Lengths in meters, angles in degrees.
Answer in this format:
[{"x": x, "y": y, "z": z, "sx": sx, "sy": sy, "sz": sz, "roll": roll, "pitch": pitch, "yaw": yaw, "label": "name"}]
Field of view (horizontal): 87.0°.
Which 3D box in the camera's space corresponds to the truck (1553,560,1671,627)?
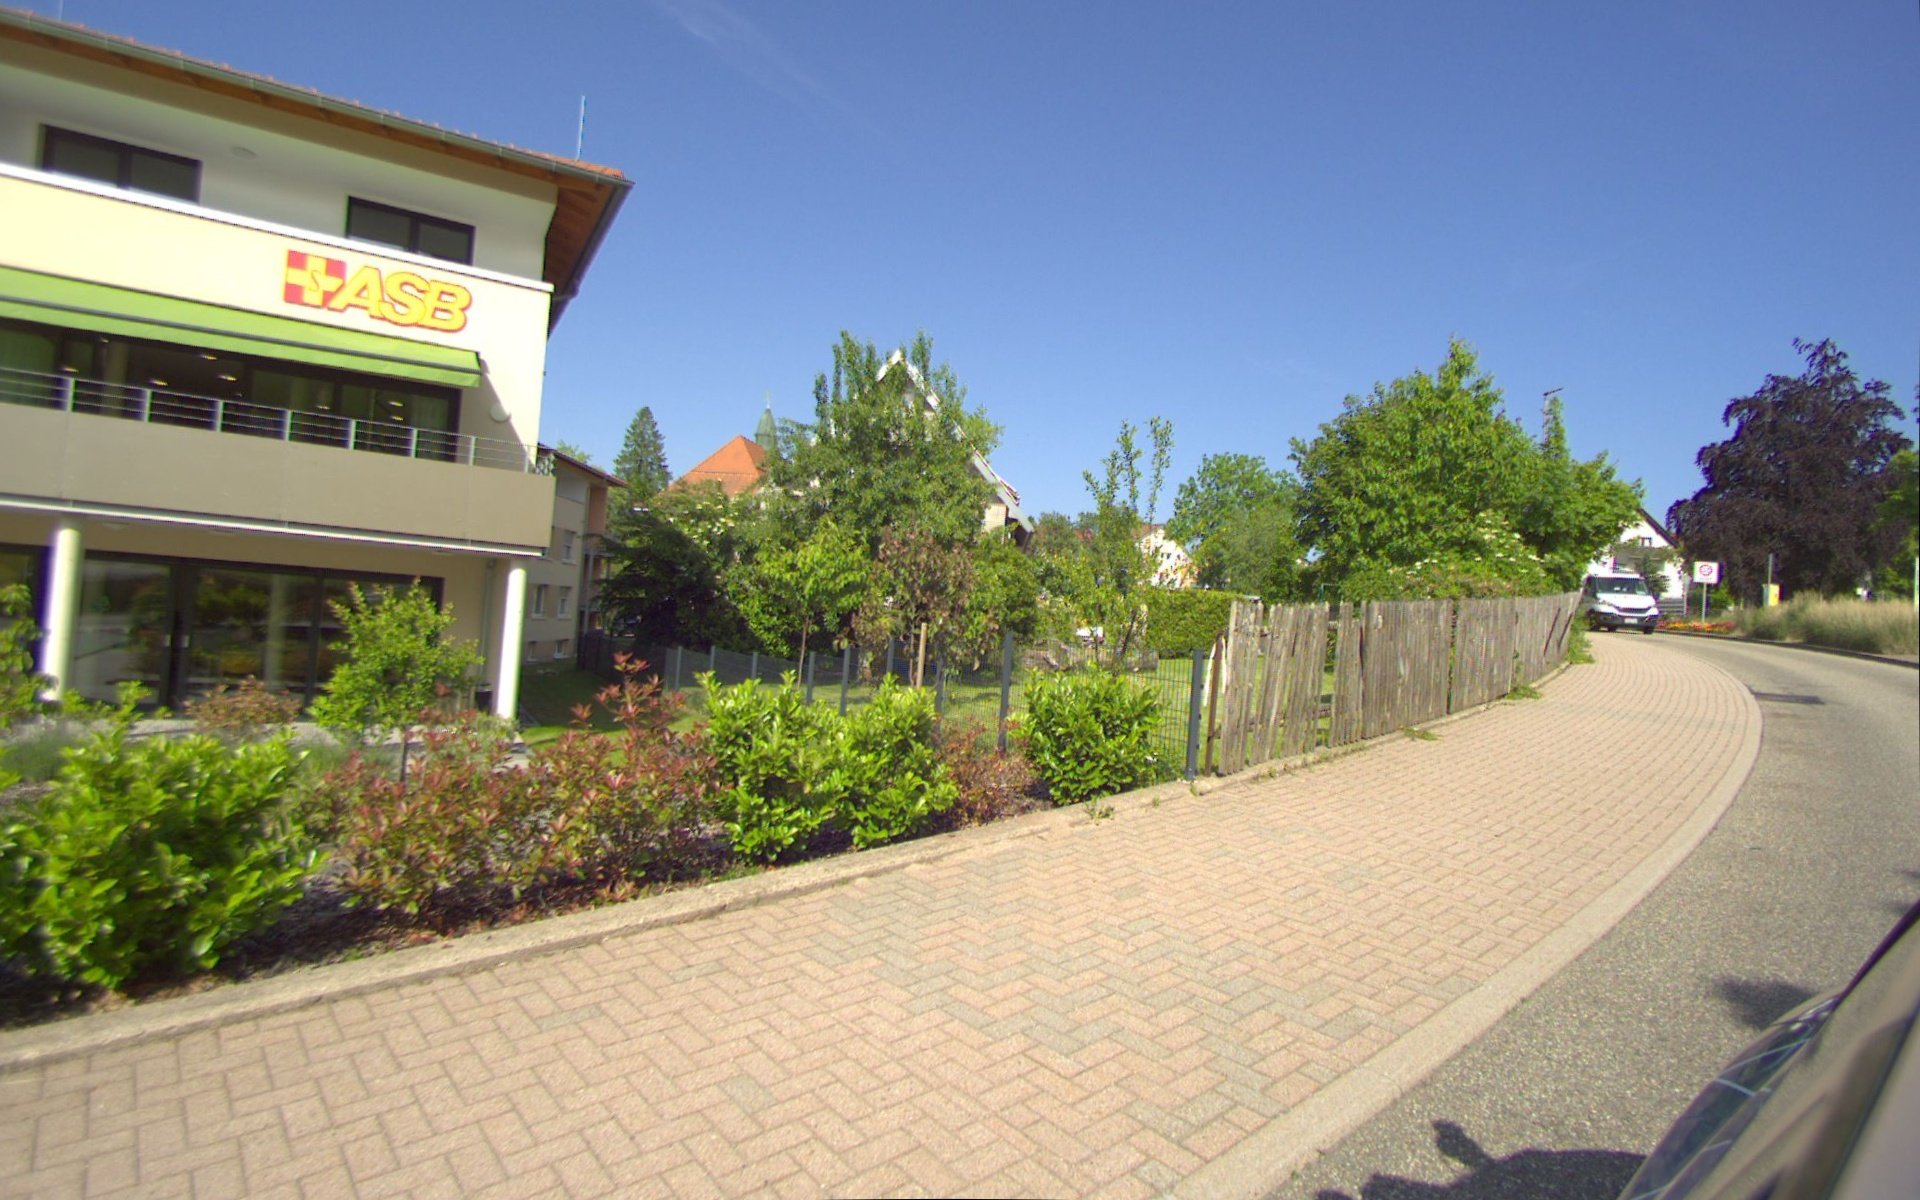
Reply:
[{"x": 25.084, "y": -0.167, "z": 39.247, "sx": 1.972, "sy": 2.372, "sz": 6.459, "roll": -1, "pitch": -2, "yaw": 16, "label": "truck"}]
